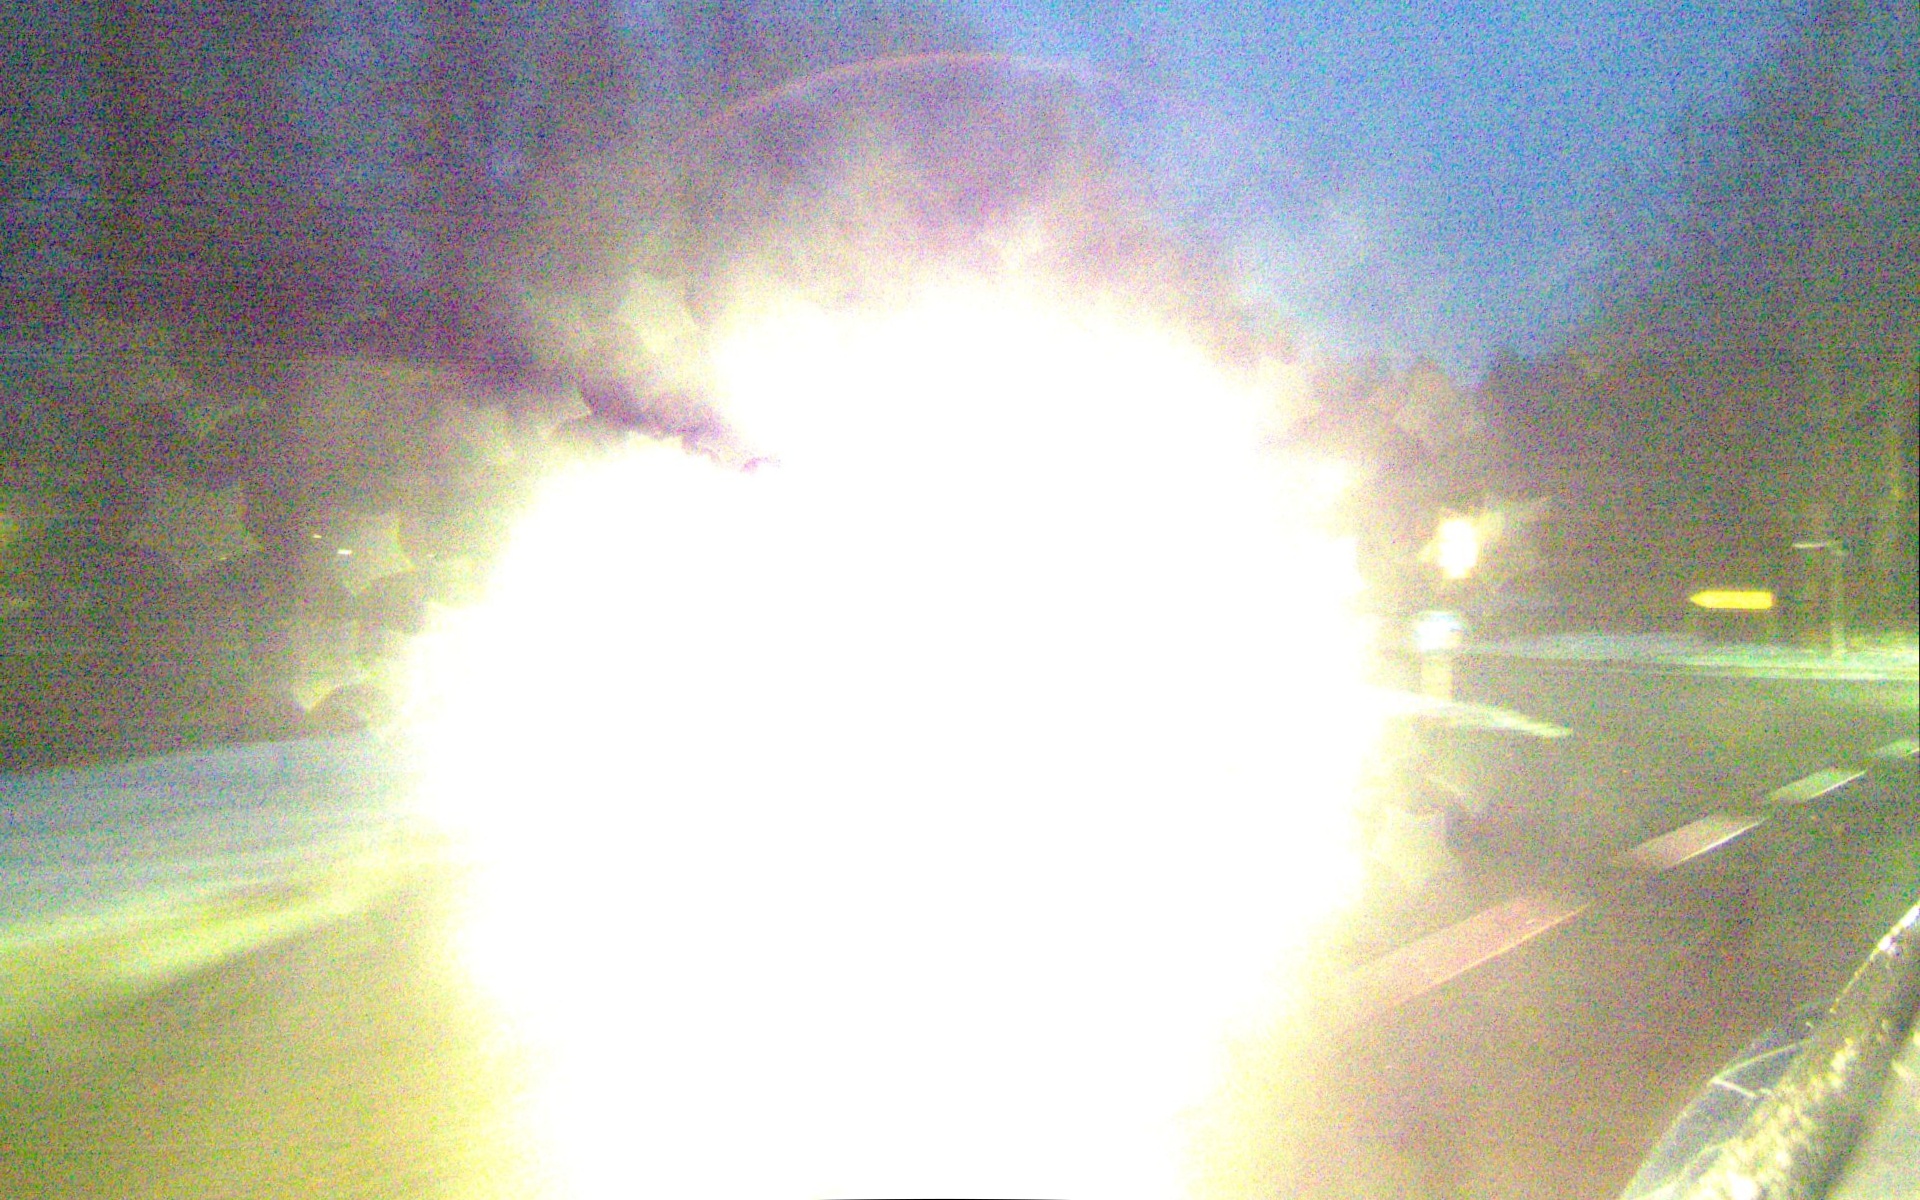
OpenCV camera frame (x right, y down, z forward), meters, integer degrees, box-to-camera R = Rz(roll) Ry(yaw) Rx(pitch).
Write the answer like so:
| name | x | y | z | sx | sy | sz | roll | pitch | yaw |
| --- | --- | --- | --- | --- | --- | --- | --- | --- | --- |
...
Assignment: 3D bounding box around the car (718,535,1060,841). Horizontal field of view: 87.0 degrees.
| name | x | y | z | sx | sy | sz | roll | pitch | yaw |
| --- | --- | --- | --- | --- | --- | --- | --- | --- | --- |
| car | -0.274 | 0.483 | 8.110 | 1.925 | 1.712 | 4.770 | -1 | 0 | 4 |
